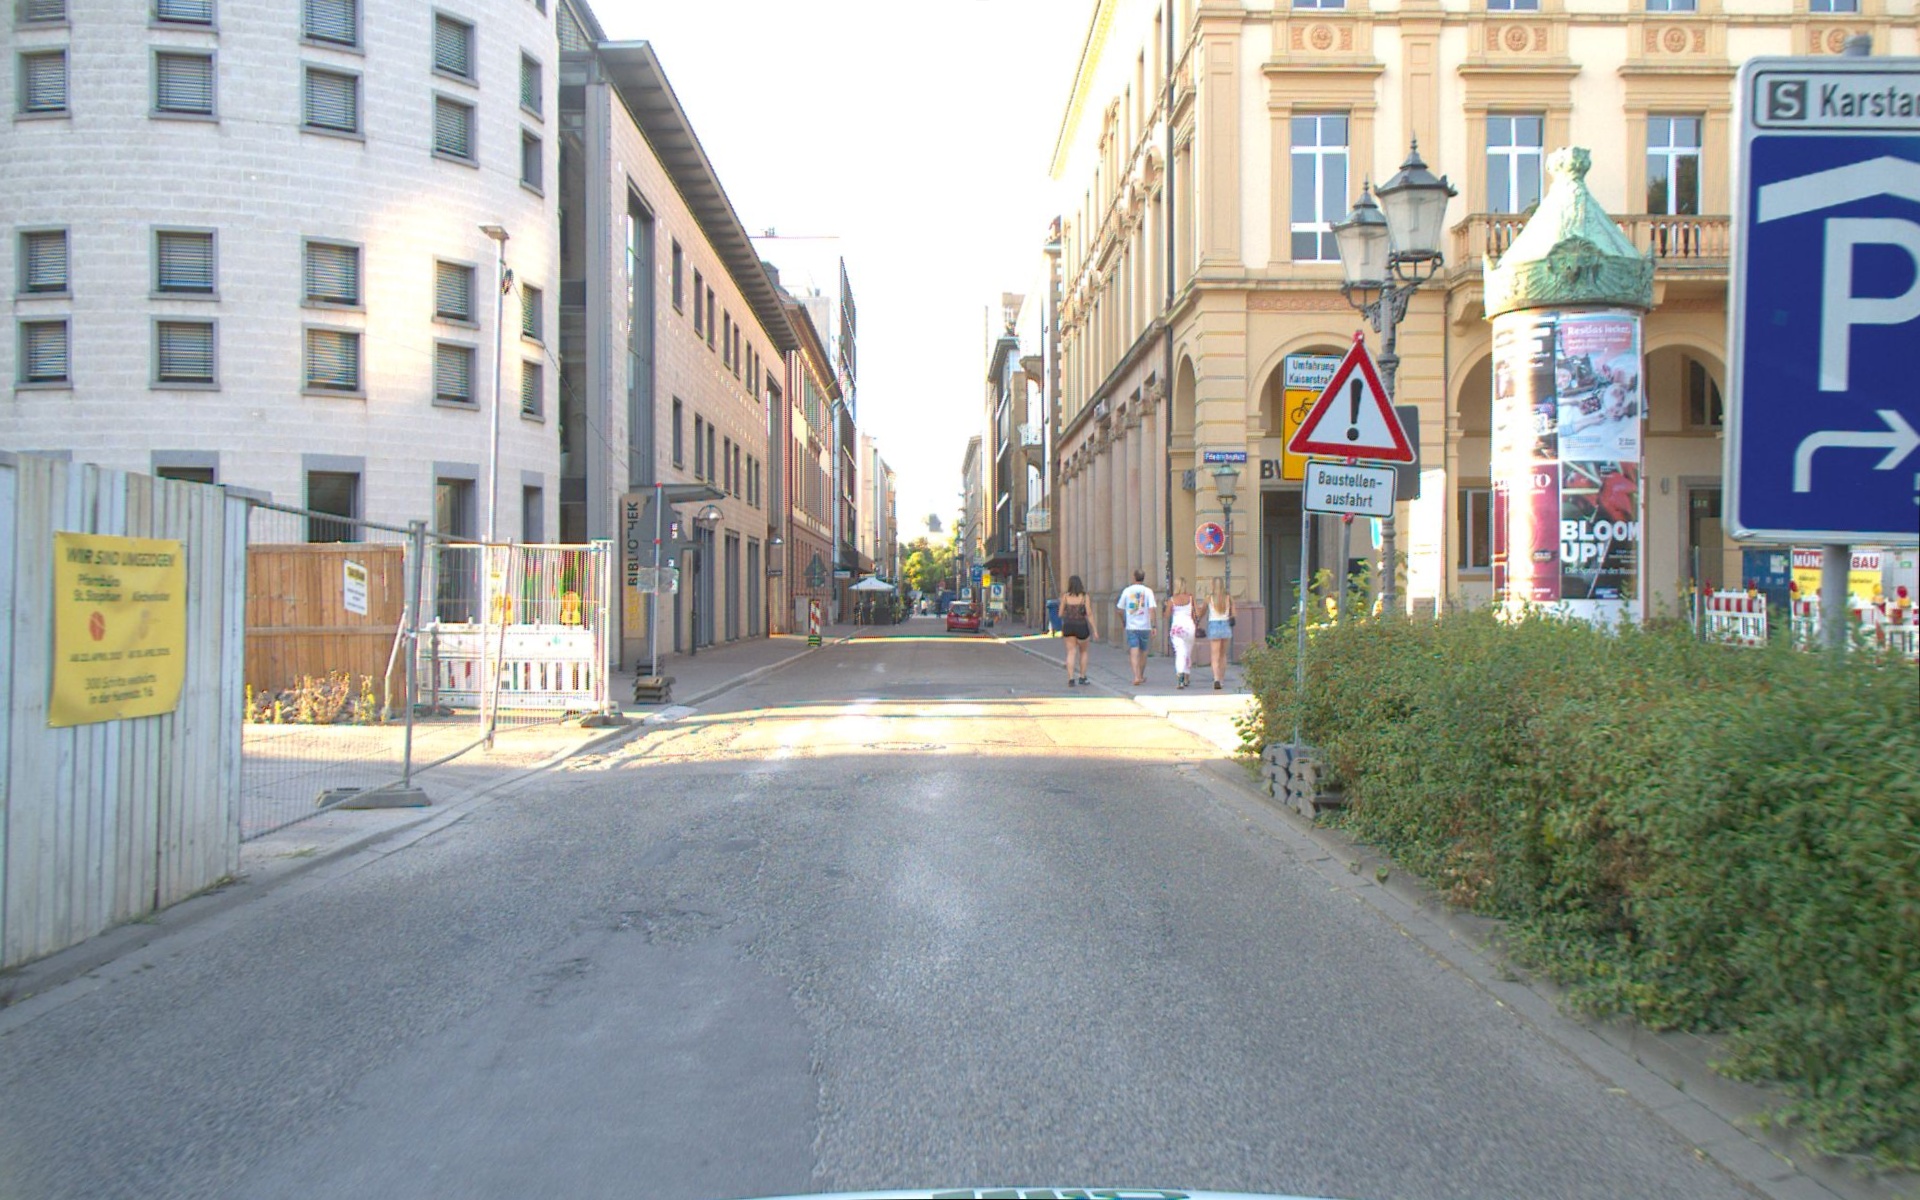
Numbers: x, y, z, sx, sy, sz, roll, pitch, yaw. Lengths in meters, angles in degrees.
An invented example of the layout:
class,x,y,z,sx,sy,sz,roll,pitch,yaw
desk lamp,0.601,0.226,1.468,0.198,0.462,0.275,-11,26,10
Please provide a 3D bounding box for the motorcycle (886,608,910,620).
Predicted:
class,x,y,z,sx,sy,sz,roll,pitch,yaw
motorcycle,-4.578,1.024,122.216,1.766,0.891,0.560,0,0,-6

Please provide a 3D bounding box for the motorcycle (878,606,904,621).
class,x,y,z,sx,sy,sz,roll,pitch,yaw
motorcycle,-4.743,0.936,114.071,1.766,1.059,0.493,0,0,-6

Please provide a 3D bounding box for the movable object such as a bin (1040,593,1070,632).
class,x,y,z,sx,sy,sz,roll,pitch,yaw
movable object such as a bin,3.531,0.463,61.643,0.970,1.416,1.240,-1,0,-2

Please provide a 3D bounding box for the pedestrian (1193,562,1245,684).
class,x,y,z,sx,sy,sz,roll,pitch,yaw
pedestrian,3.966,0.342,25.376,0.623,1.835,0.771,-1,0,-2

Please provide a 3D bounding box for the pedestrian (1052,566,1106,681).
class,x,y,z,sx,sy,sz,roll,pitch,yaw
pedestrian,1.890,0.368,26.354,0.760,1.777,0.874,-1,0,-2

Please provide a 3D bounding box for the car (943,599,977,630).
class,x,y,z,sx,sy,sz,roll,pitch,yaw
car,-0.013,0.697,82.435,1.616,1.452,3.535,2,0,-1

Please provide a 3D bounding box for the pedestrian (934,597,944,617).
class,x,y,z,sx,sy,sz,roll,pitch,yaw
pedestrian,-1.809,0.582,139.603,0.848,1.743,0.852,0,0,-1

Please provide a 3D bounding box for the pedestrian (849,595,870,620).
class,x,y,z,sx,sy,sz,roll,pitch,yaw
pedestrian,-5.944,0.443,97.883,1.265,1.514,0.661,0,0,-3

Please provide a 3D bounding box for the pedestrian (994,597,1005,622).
class,x,y,z,sx,sy,sz,roll,pitch,yaw
pedestrian,2.391,0.572,99.909,0.643,1.514,0.493,-1,0,1

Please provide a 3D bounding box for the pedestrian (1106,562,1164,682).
class,x,y,z,sx,sy,sz,roll,pitch,yaw
pedestrian,2.826,0.348,26.764,0.795,1.908,0.874,-1,0,-2

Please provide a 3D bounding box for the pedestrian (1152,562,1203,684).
class,x,y,z,sx,sy,sz,roll,pitch,yaw
pedestrian,3.322,0.344,25.330,0.623,1.835,0.771,-1,0,-2
